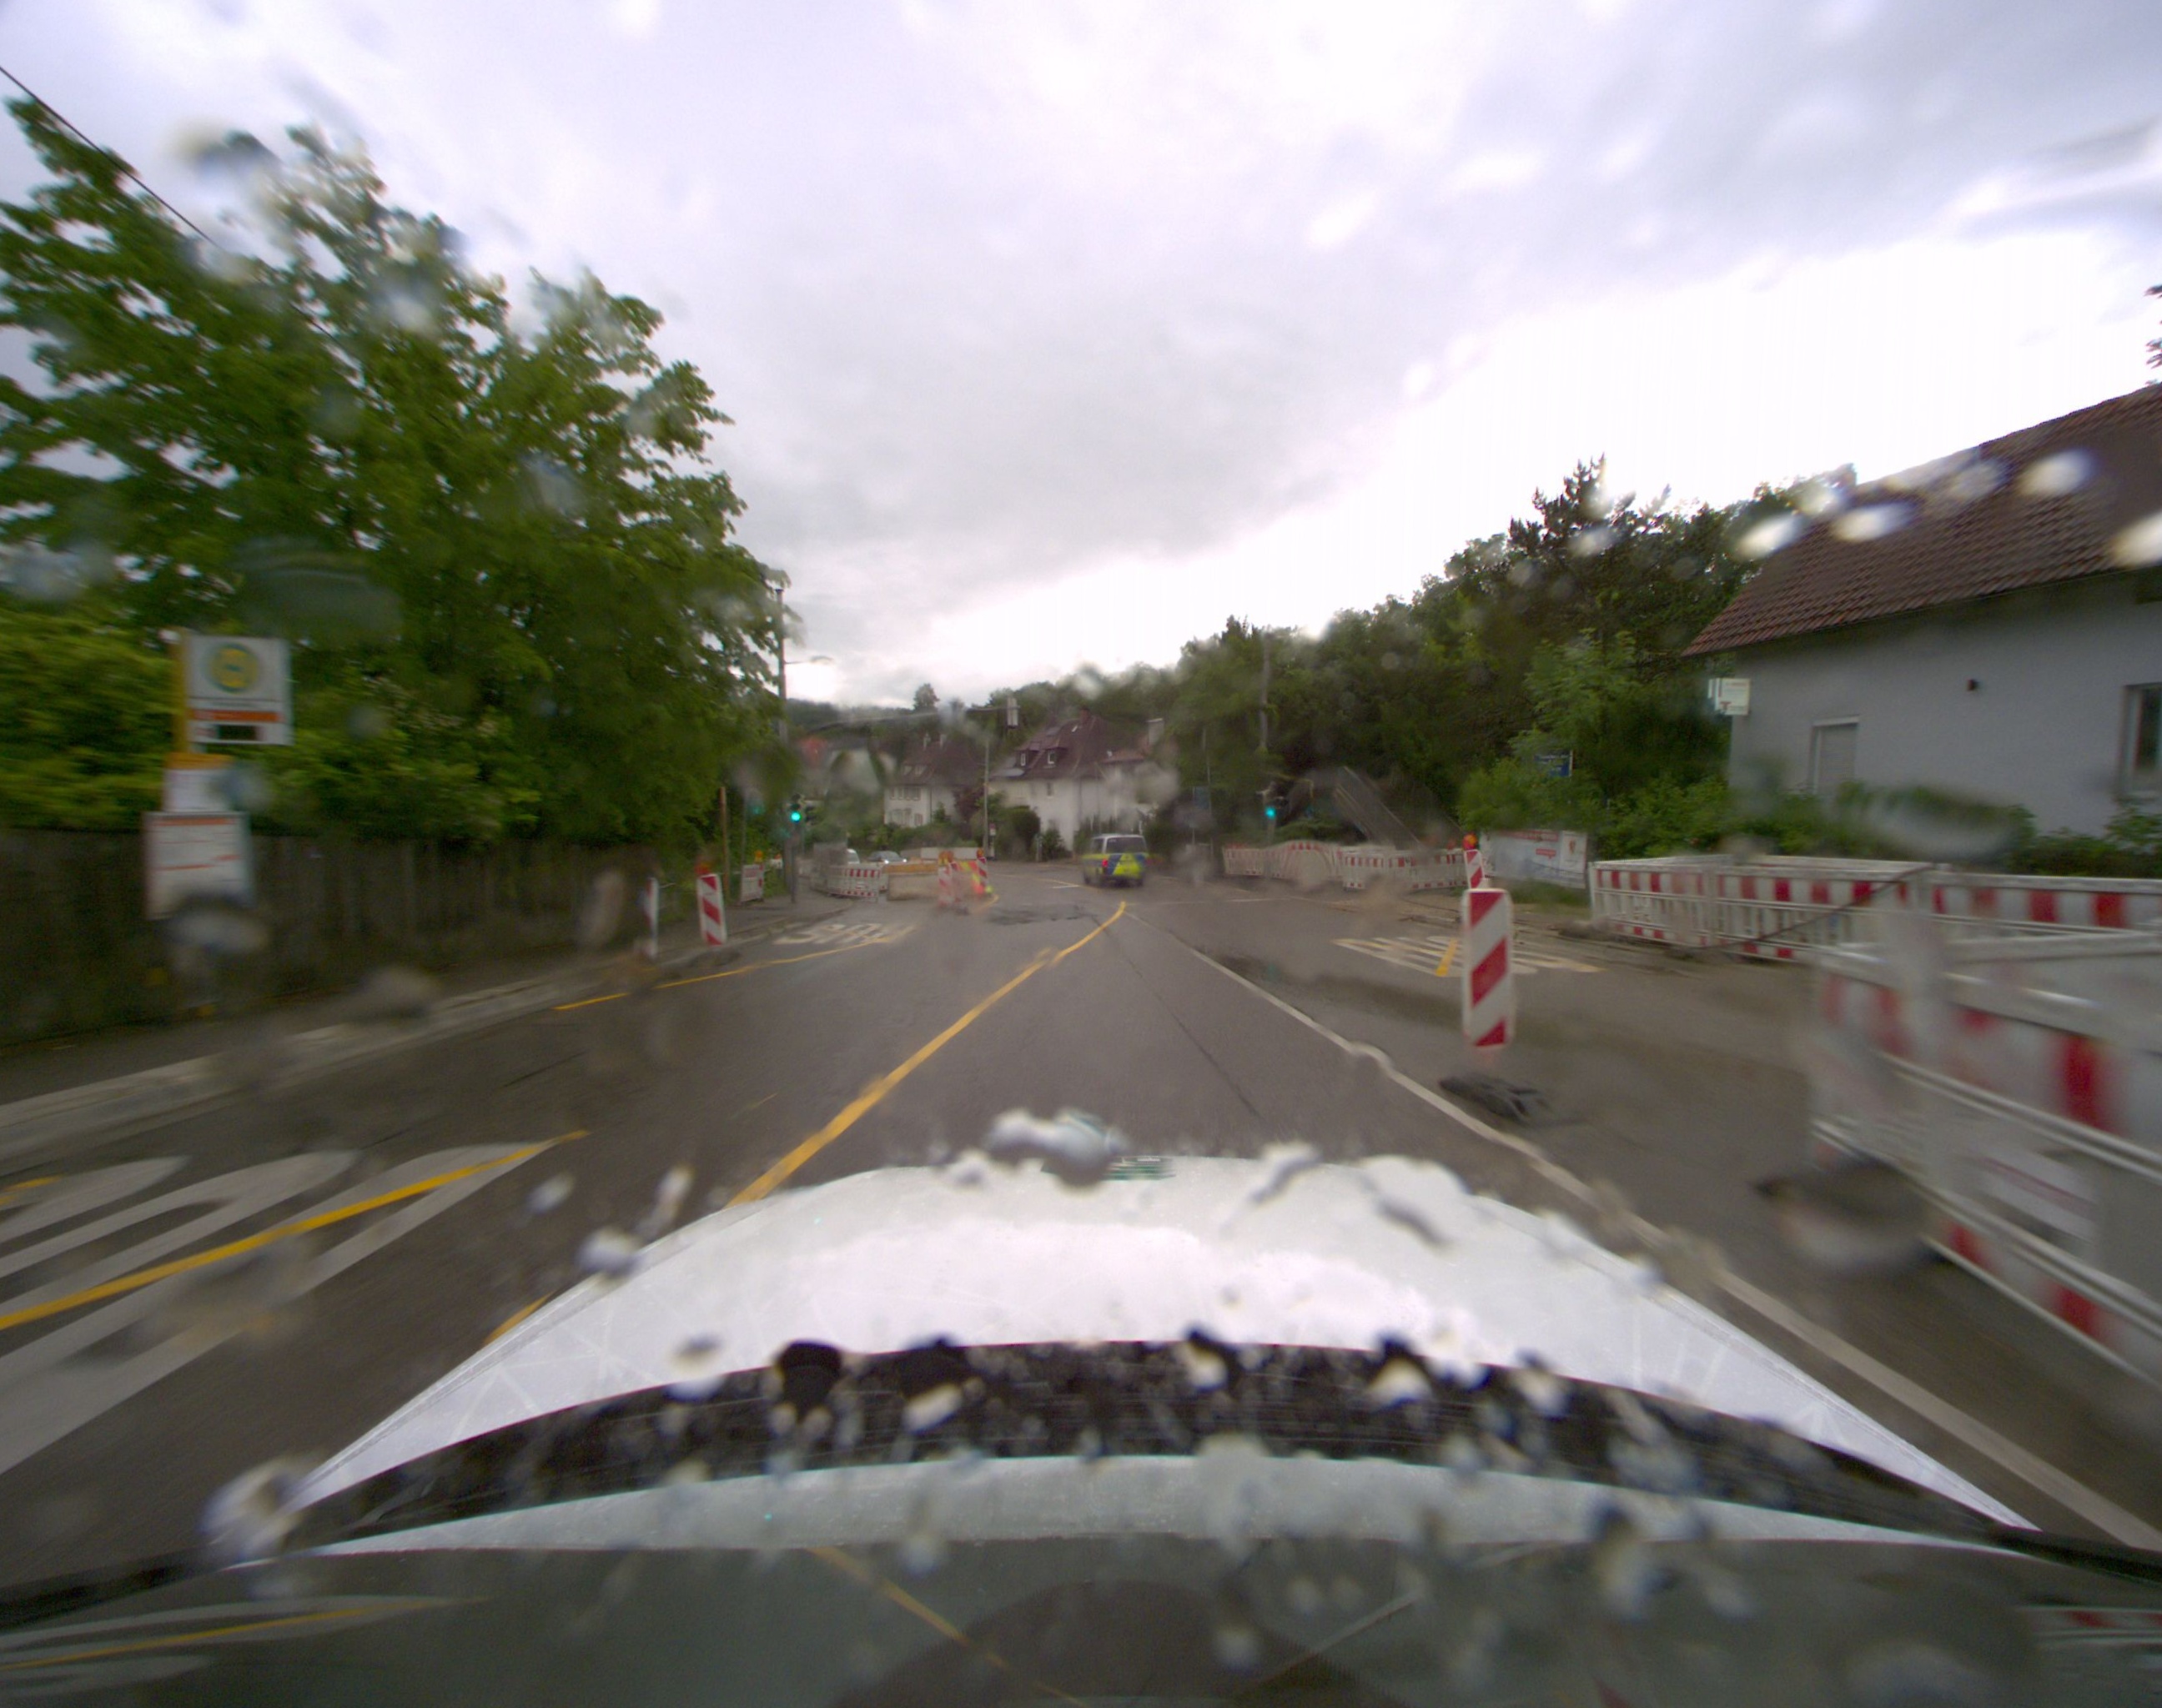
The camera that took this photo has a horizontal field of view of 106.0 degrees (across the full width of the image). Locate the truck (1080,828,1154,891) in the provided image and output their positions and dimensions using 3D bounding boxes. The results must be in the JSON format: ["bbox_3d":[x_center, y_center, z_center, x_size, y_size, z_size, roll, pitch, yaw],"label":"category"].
[{"bbox_3d":[1.313,0.112,31.701,1.993,2.012,4.723,-2,4,-8],"label":"truck"}]

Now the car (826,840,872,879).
[{"bbox_3d":[-12.903,0.326,45.051,2.001,2.014,4.772,-1,0,-22],"label":"car"}]

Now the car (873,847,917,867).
[{"bbox_3d":[-13.825,0.223,60.335,1.796,1.403,4.320,-1,1,-33],"label":"car"}]
